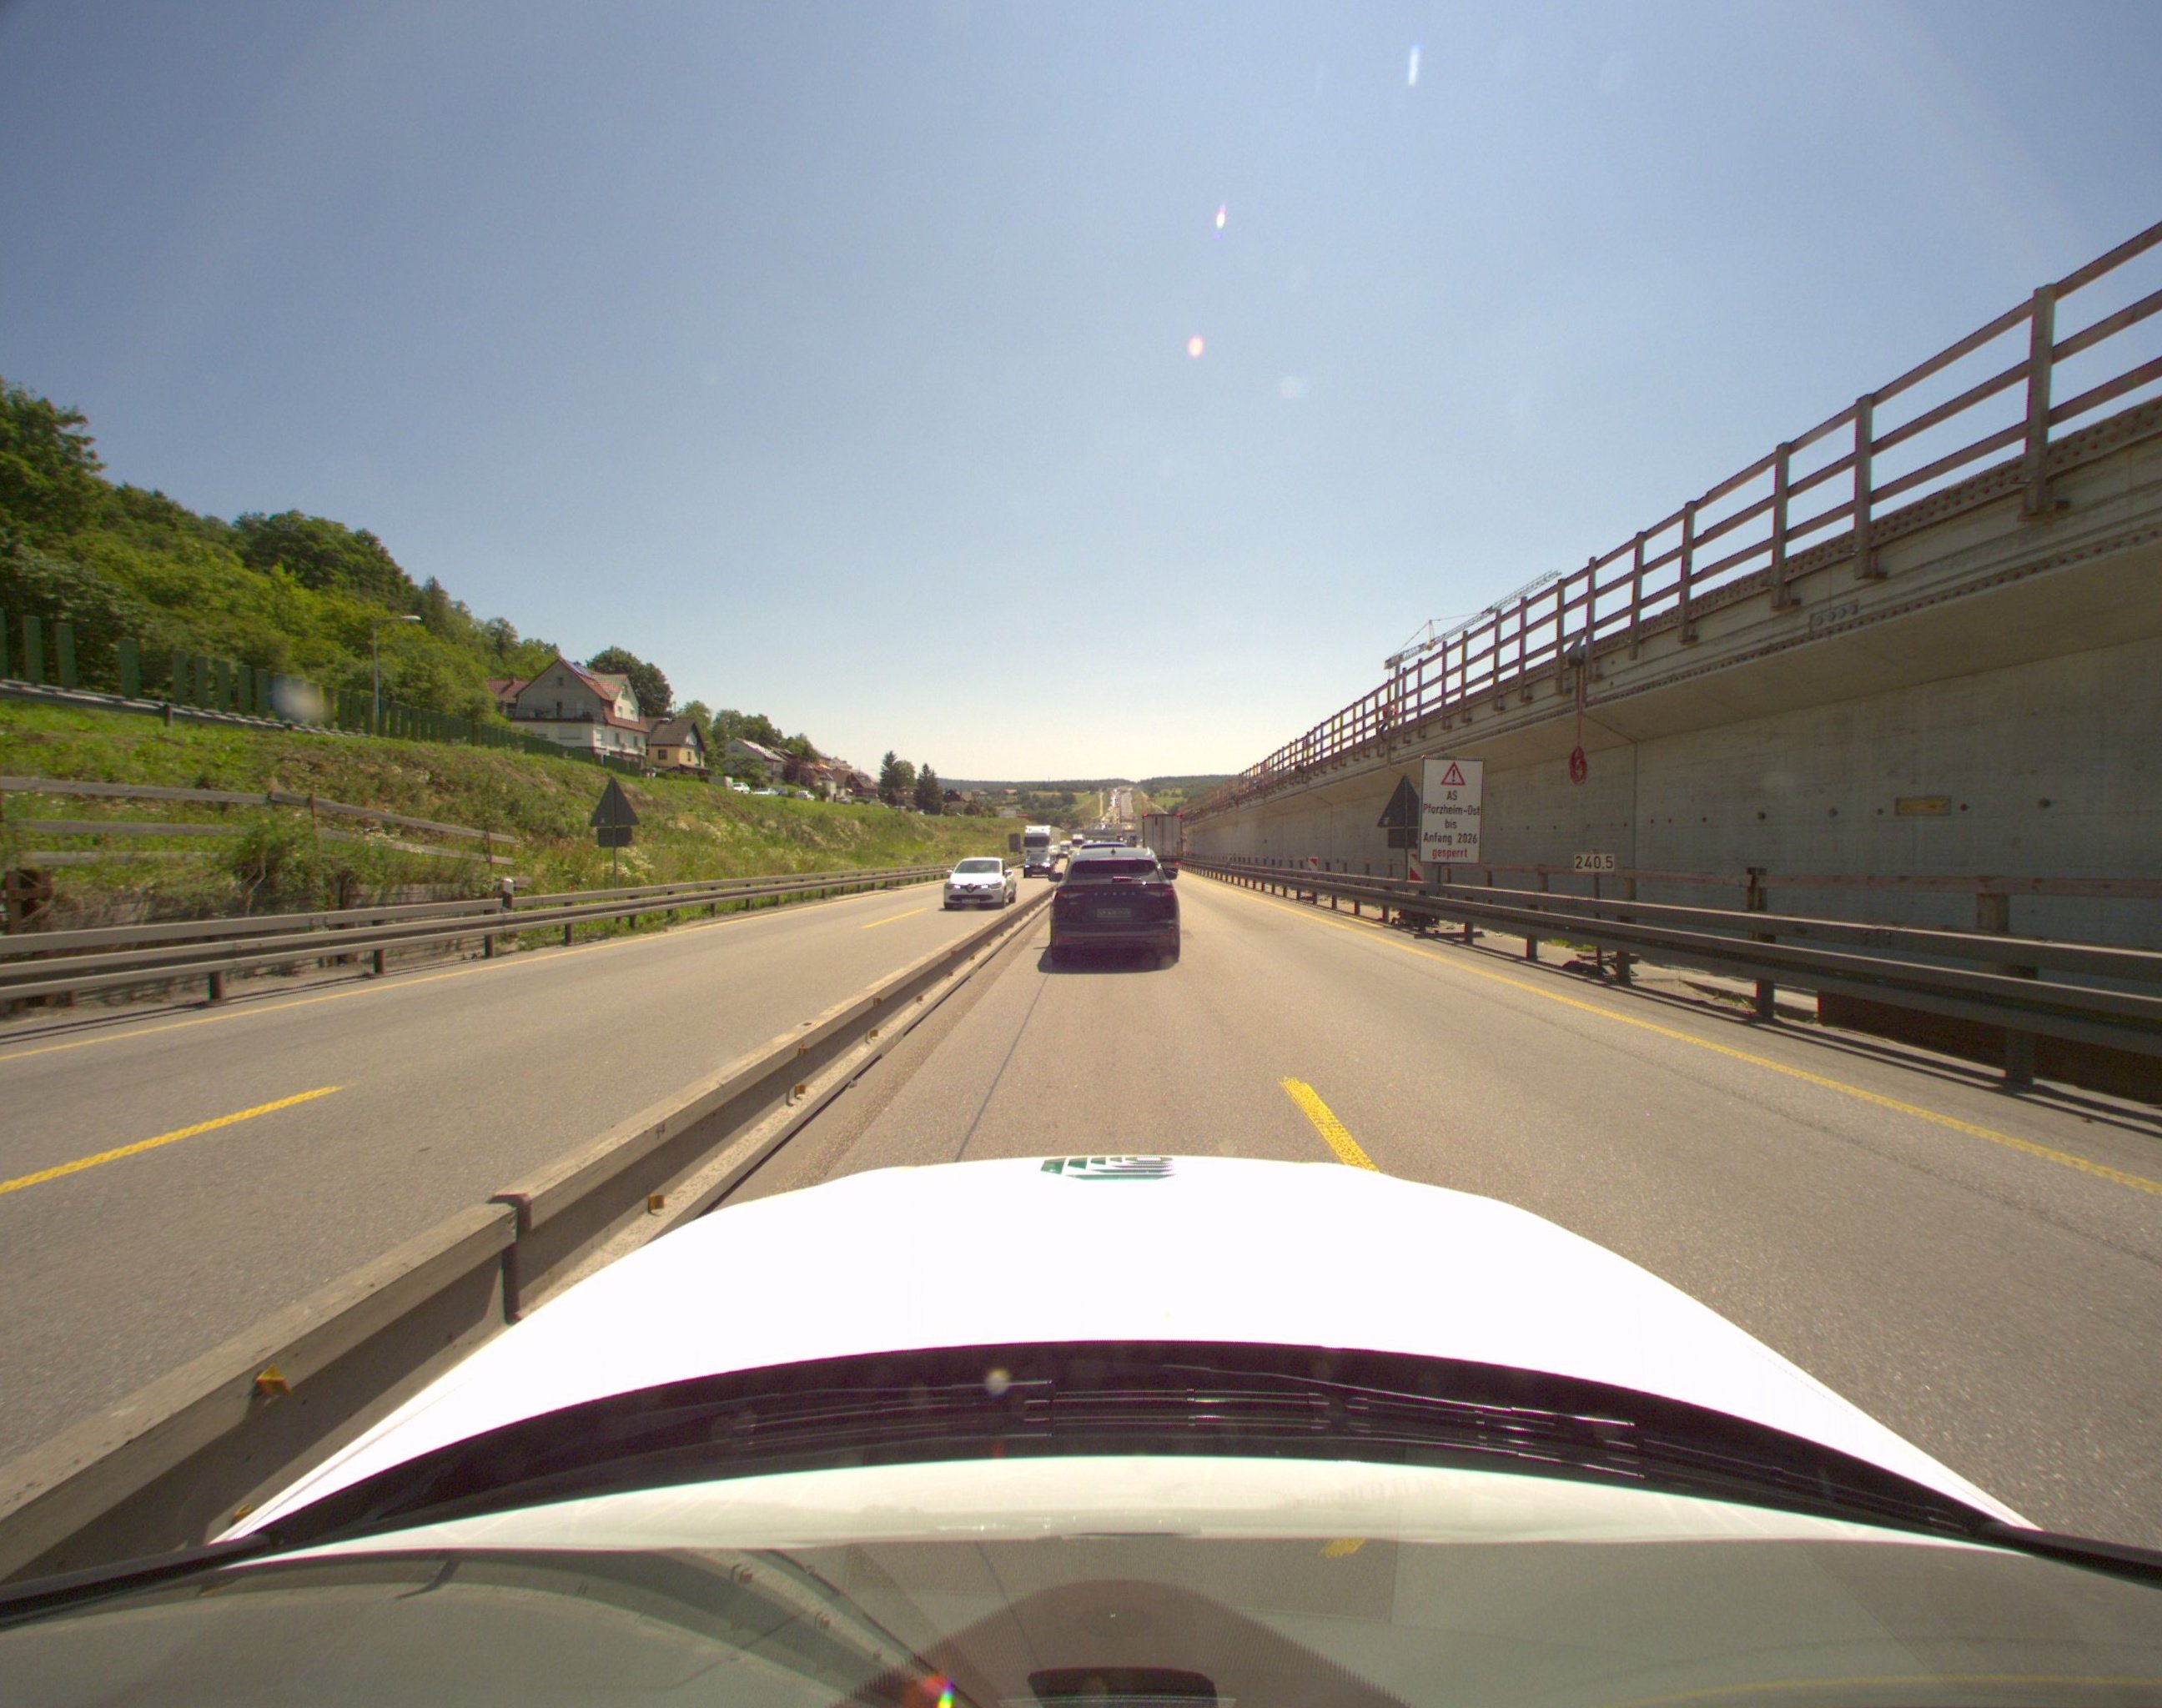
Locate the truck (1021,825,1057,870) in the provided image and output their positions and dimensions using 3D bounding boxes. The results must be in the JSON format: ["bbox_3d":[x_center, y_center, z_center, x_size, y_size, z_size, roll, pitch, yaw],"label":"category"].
[{"bbox_3d":[-4.095,-0.557,80.723,3.169,4.238,6.485,0,-1,1],"label":"truck"}]

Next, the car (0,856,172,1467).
[{"bbox_3d":[-3.531,0.761,0.417,1.760,1.486,3.865,-1,0,0],"label":"car"}]

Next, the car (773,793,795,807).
[{"bbox_3d":[-35.543,-6.415,97.448,1.590,1.419,3.989,-1,0,-8],"label":"car"}]

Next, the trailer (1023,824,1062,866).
[{"bbox_3d":[-4.004,-0.909,87.468,3.209,4.158,13.409,-1,0,1],"label":"trailer"}]

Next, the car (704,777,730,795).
[{"bbox_3d":[-34.289,-6.389,76.862,1.732,1.398,3.779,1,0,-17],"label":"car"}]

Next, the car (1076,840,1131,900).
[{"bbox_3d":[0.731,0.520,28.442,1.744,1.895,3.754,2,0,-1],"label":"car"}]

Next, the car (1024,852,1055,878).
[{"bbox_3d":[-2.631,0.663,52.220,1.694,1.561,4.104,-1,0,1],"label":"car"}]

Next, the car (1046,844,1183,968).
[{"bbox_3d":[0.464,0.686,12.531,1.776,1.597,3.755,-1,0,1],"label":"car"}]

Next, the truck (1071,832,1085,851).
[{"bbox_3d":[-0.644,-2.708,184.265,2.742,4.227,8.105,0,0,3],"label":"truck"}]

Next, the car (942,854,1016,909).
[{"bbox_3d":[-2.944,0.763,24.188,1.685,1.486,3.749,-1,0,0],"label":"car"}]

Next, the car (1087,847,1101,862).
[{"bbox_3d":[1.757,0.047,111.861,1.856,2.014,4.807,-1,-1,2],"label":"car"}]

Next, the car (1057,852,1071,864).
[{"bbox_3d":[-2.504,0.612,121.310,1.740,1.585,4.001,3,-1,2],"label":"car"}]

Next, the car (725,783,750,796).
[{"bbox_3d":[-34.385,-6.425,81.488,1.277,1.039,3.270,-1,0,-4],"label":"car"}]

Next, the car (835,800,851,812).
[{"bbox_3d":[-37.484,-7.597,128.390,1.924,1.728,3.988,-1,0,-8],"label":"car"}]

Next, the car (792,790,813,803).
[{"bbox_3d":[-37.174,-7.720,108.863,1.993,1.319,3.987,3,-1,-9],"label":"car"}]

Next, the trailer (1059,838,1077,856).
[{"bbox_3d":[-1.995,-1.084,129.710,2.475,2.613,5.871,-2,-1,3],"label":"trailer"}]

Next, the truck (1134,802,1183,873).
[{"bbox_3d":[5.394,-0.990,58.534,2.835,4.615,11.817,0,-1,2],"label":"truck"}]

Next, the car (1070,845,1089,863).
[{"bbox_3d":[-0.138,0.029,84.908,1.769,1.820,4.435,-1,0,2],"label":"car"}]
